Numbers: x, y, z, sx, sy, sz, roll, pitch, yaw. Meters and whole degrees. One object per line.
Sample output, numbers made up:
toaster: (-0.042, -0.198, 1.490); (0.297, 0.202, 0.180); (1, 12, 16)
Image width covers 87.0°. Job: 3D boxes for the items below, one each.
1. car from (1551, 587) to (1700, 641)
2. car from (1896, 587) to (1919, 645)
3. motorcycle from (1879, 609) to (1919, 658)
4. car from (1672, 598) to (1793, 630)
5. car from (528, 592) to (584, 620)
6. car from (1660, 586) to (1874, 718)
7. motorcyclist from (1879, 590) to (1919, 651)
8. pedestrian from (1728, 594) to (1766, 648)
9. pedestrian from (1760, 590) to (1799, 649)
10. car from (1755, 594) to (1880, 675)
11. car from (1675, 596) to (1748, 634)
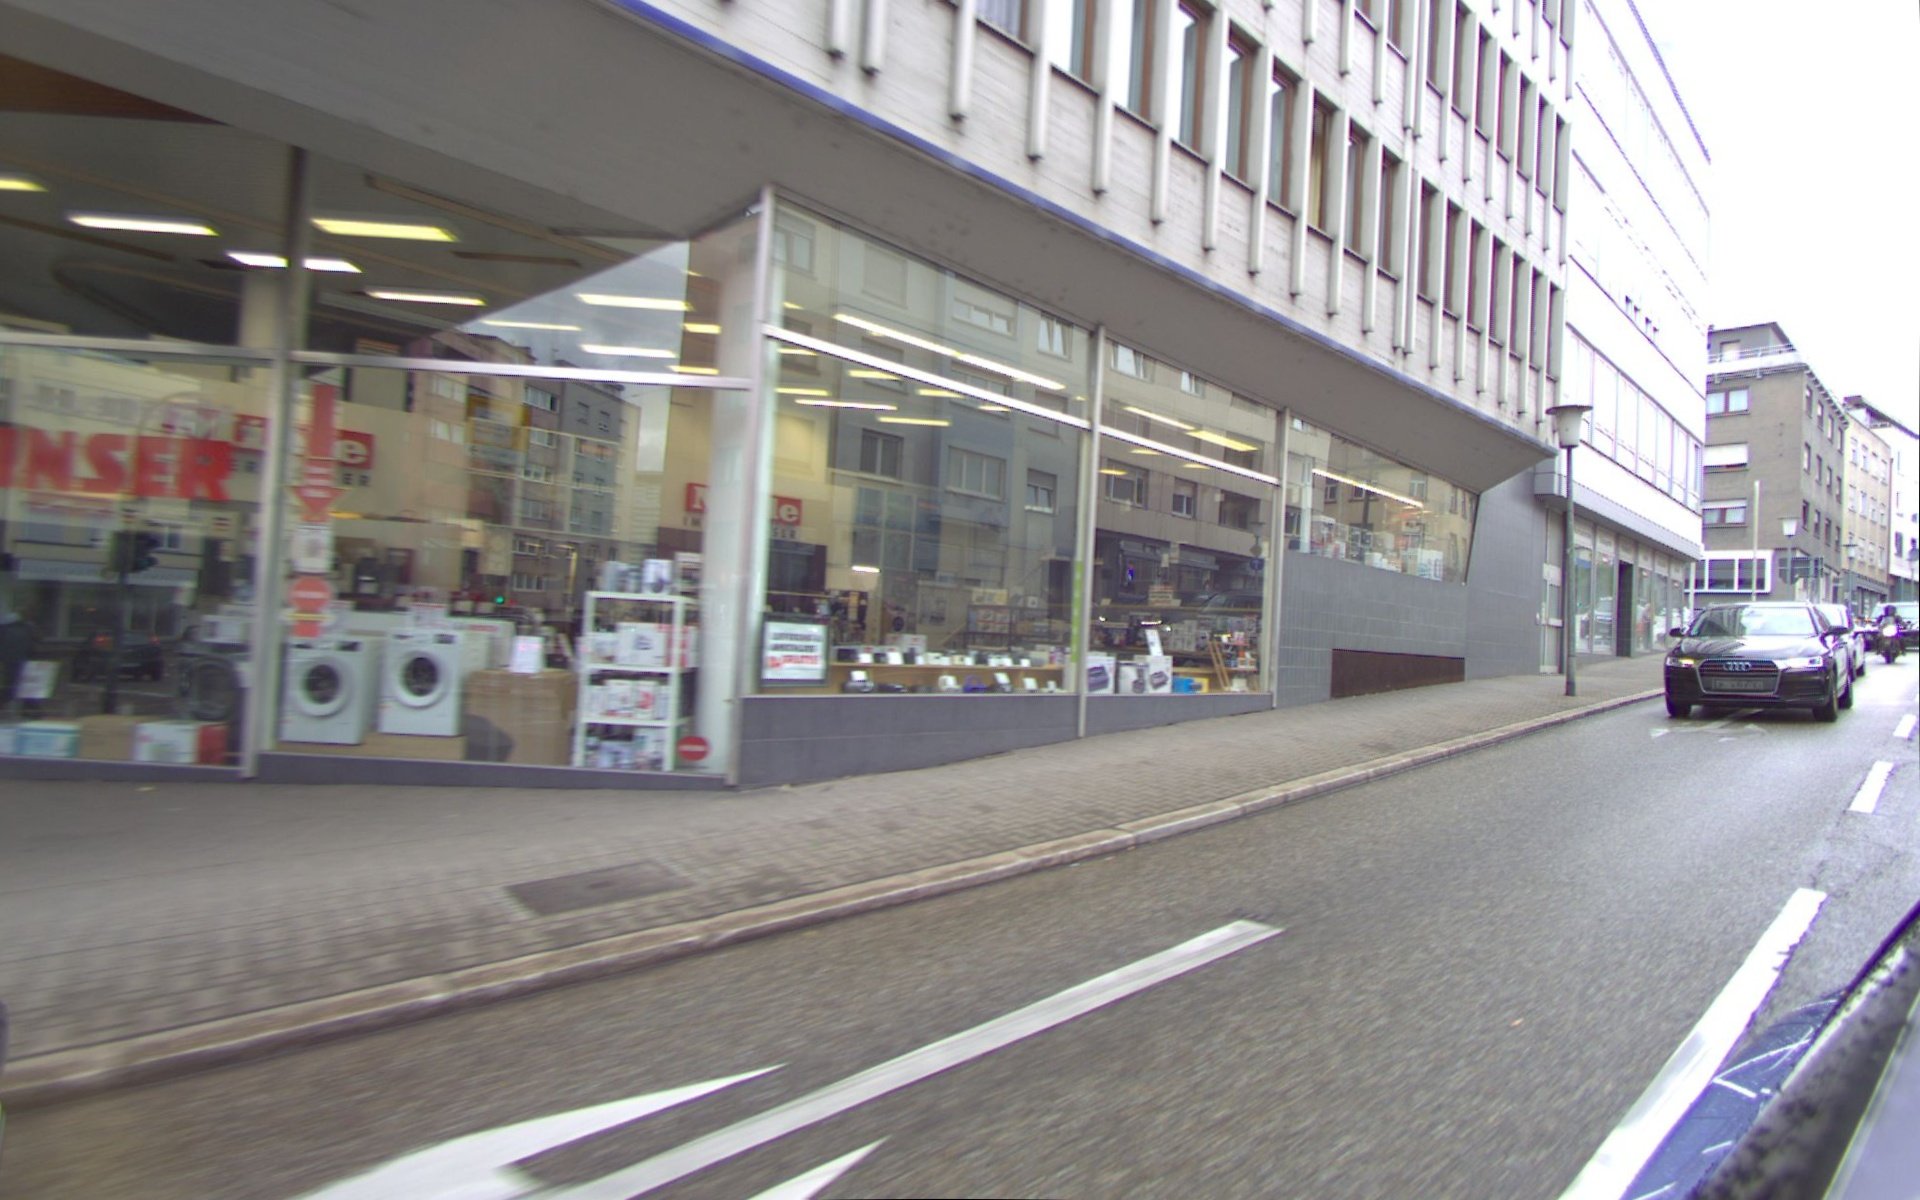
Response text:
car: (22.201, 0.419, 33.974); (3.968, 1.468, 1.780); (5, 2, 30)
car: (33.699, 0.534, 34.890); (1.841, 1.928, 3.711); (0, 0, 39)
motorcycle: (25.483, 0.894, 27.364); (0.843, 1.242, 2.338); (-3, -2, 41)
car: (38.950, 0.718, 51.128); (1.964, 1.523, 4.530); (0, -1, -39)
car: (-23.479, 0.324, 58.894); (1.960, 1.513, 4.004); (0, 1, -5)
car: (11.459, 0.659, 14.263); (4.132, 1.580, 1.824); (0, -2, -44)
motorcyclist: (25.486, 0.554, 27.380); (0.844, 1.610, 0.948); (-3, -2, 41)
pedestrian: (23.668, 0.614, 30.424); (0.765, 1.570, 0.877); (4, 3, 43)
pedestrian: (25.027, 0.589, 30.899); (0.784, 1.726, 1.103); (4, 3, 43)
car: (18.521, 0.718, 21.790); (1.825, 1.561, 4.186); (-4, -3, 43)
car: (32.615, 0.615, 43.876); (4.362, 1.531, 1.790); (0, 0, -43)
